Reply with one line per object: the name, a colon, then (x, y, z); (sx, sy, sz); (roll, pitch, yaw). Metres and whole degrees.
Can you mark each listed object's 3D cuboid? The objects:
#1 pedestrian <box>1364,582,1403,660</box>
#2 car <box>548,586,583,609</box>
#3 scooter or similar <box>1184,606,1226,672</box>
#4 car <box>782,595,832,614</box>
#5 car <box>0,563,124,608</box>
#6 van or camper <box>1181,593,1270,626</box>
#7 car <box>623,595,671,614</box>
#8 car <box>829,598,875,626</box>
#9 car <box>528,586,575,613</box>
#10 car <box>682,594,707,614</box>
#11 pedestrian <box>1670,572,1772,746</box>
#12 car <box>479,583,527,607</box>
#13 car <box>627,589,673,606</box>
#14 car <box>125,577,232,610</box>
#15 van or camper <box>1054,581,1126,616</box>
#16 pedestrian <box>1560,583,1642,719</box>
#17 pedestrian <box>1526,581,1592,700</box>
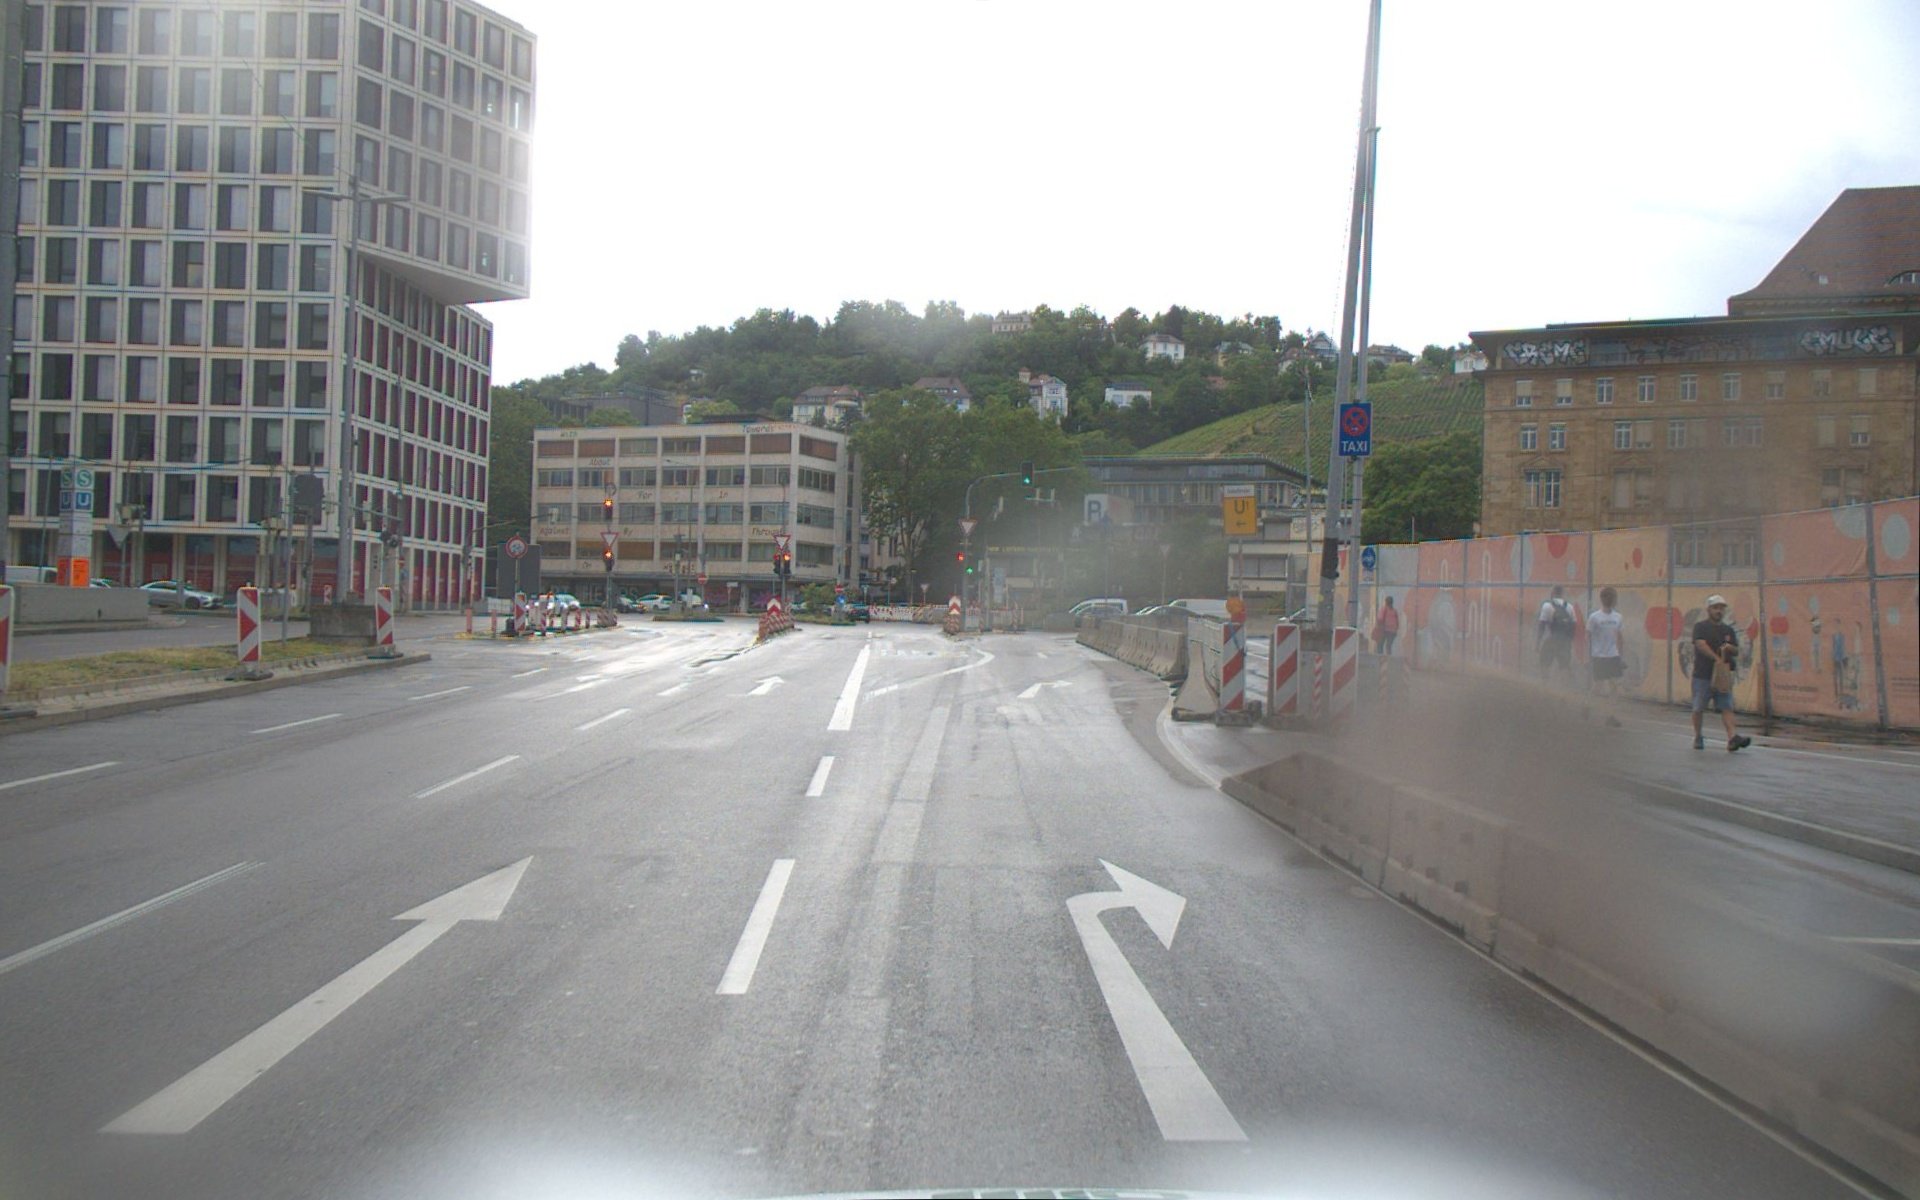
pedestrian: (10.460, 0.517, 40.876); (0.705, 1.899, 0.709); (1, 0, -3)
car: (-33.266, -0.223, 139.433); (1.781, 1.847, 3.959); (1, 0, -30)
scooter or similar: (4.779, 0.753, 32.293); (0.660, 1.236, 1.572); (1, 0, 3)
car: (-12.890, 0.397, 139.257); (3.994, 1.518, 1.730); (1, 0, 35)
car: (-41.366, -0.677, 75.889); (4.961, 1.937, 2.089); (1, 0, 5)
van or camper: (16.162, 0.562, 100.898); (5.092, 1.927, 1.886); (1, 0, -4)
car: (-26.571, 0.355, 140.262); (3.922, 1.512, 1.828); (1, 0, 38)
car: (-8.294, 0.894, 126.827); (1.972, 2.049, 3.961); (1, 0, -29)
car: (-27.976, 0.009, 113.353); (2.178, 1.784, 4.810); (1, 0, -3)
car: (-20.749, 0.315, 129.260); (1.797, 1.512, 3.990); (1, 0, -10)
pedestrian: (7.999, 0.604, 17.412); (0.629, 1.771, 0.837); (1, 0, -3)
car: (-37.645, -0.419, 136.204); (3.923, 1.847, 1.797); (2, 0, 38)
car: (-29.079, -0.258, 155.185); (3.983, 1.518, 1.735); (1, 0, 25)
car: (-40.306, -0.344, 85.368); (4.549, 1.626, 2.020); (1, 0, 7)
van or camper: (7.896, -0.083, 100.931); (4.158, 2.013, 1.850); (1, 0, -4)
pedestrian: (8.554, 0.664, 22.098); (0.670, 1.771, 0.907); (1, 0, -3)
pedestrian: (9.828, 0.648, 27.155); (0.689, 1.899, 0.990); (1, 0, -1)
